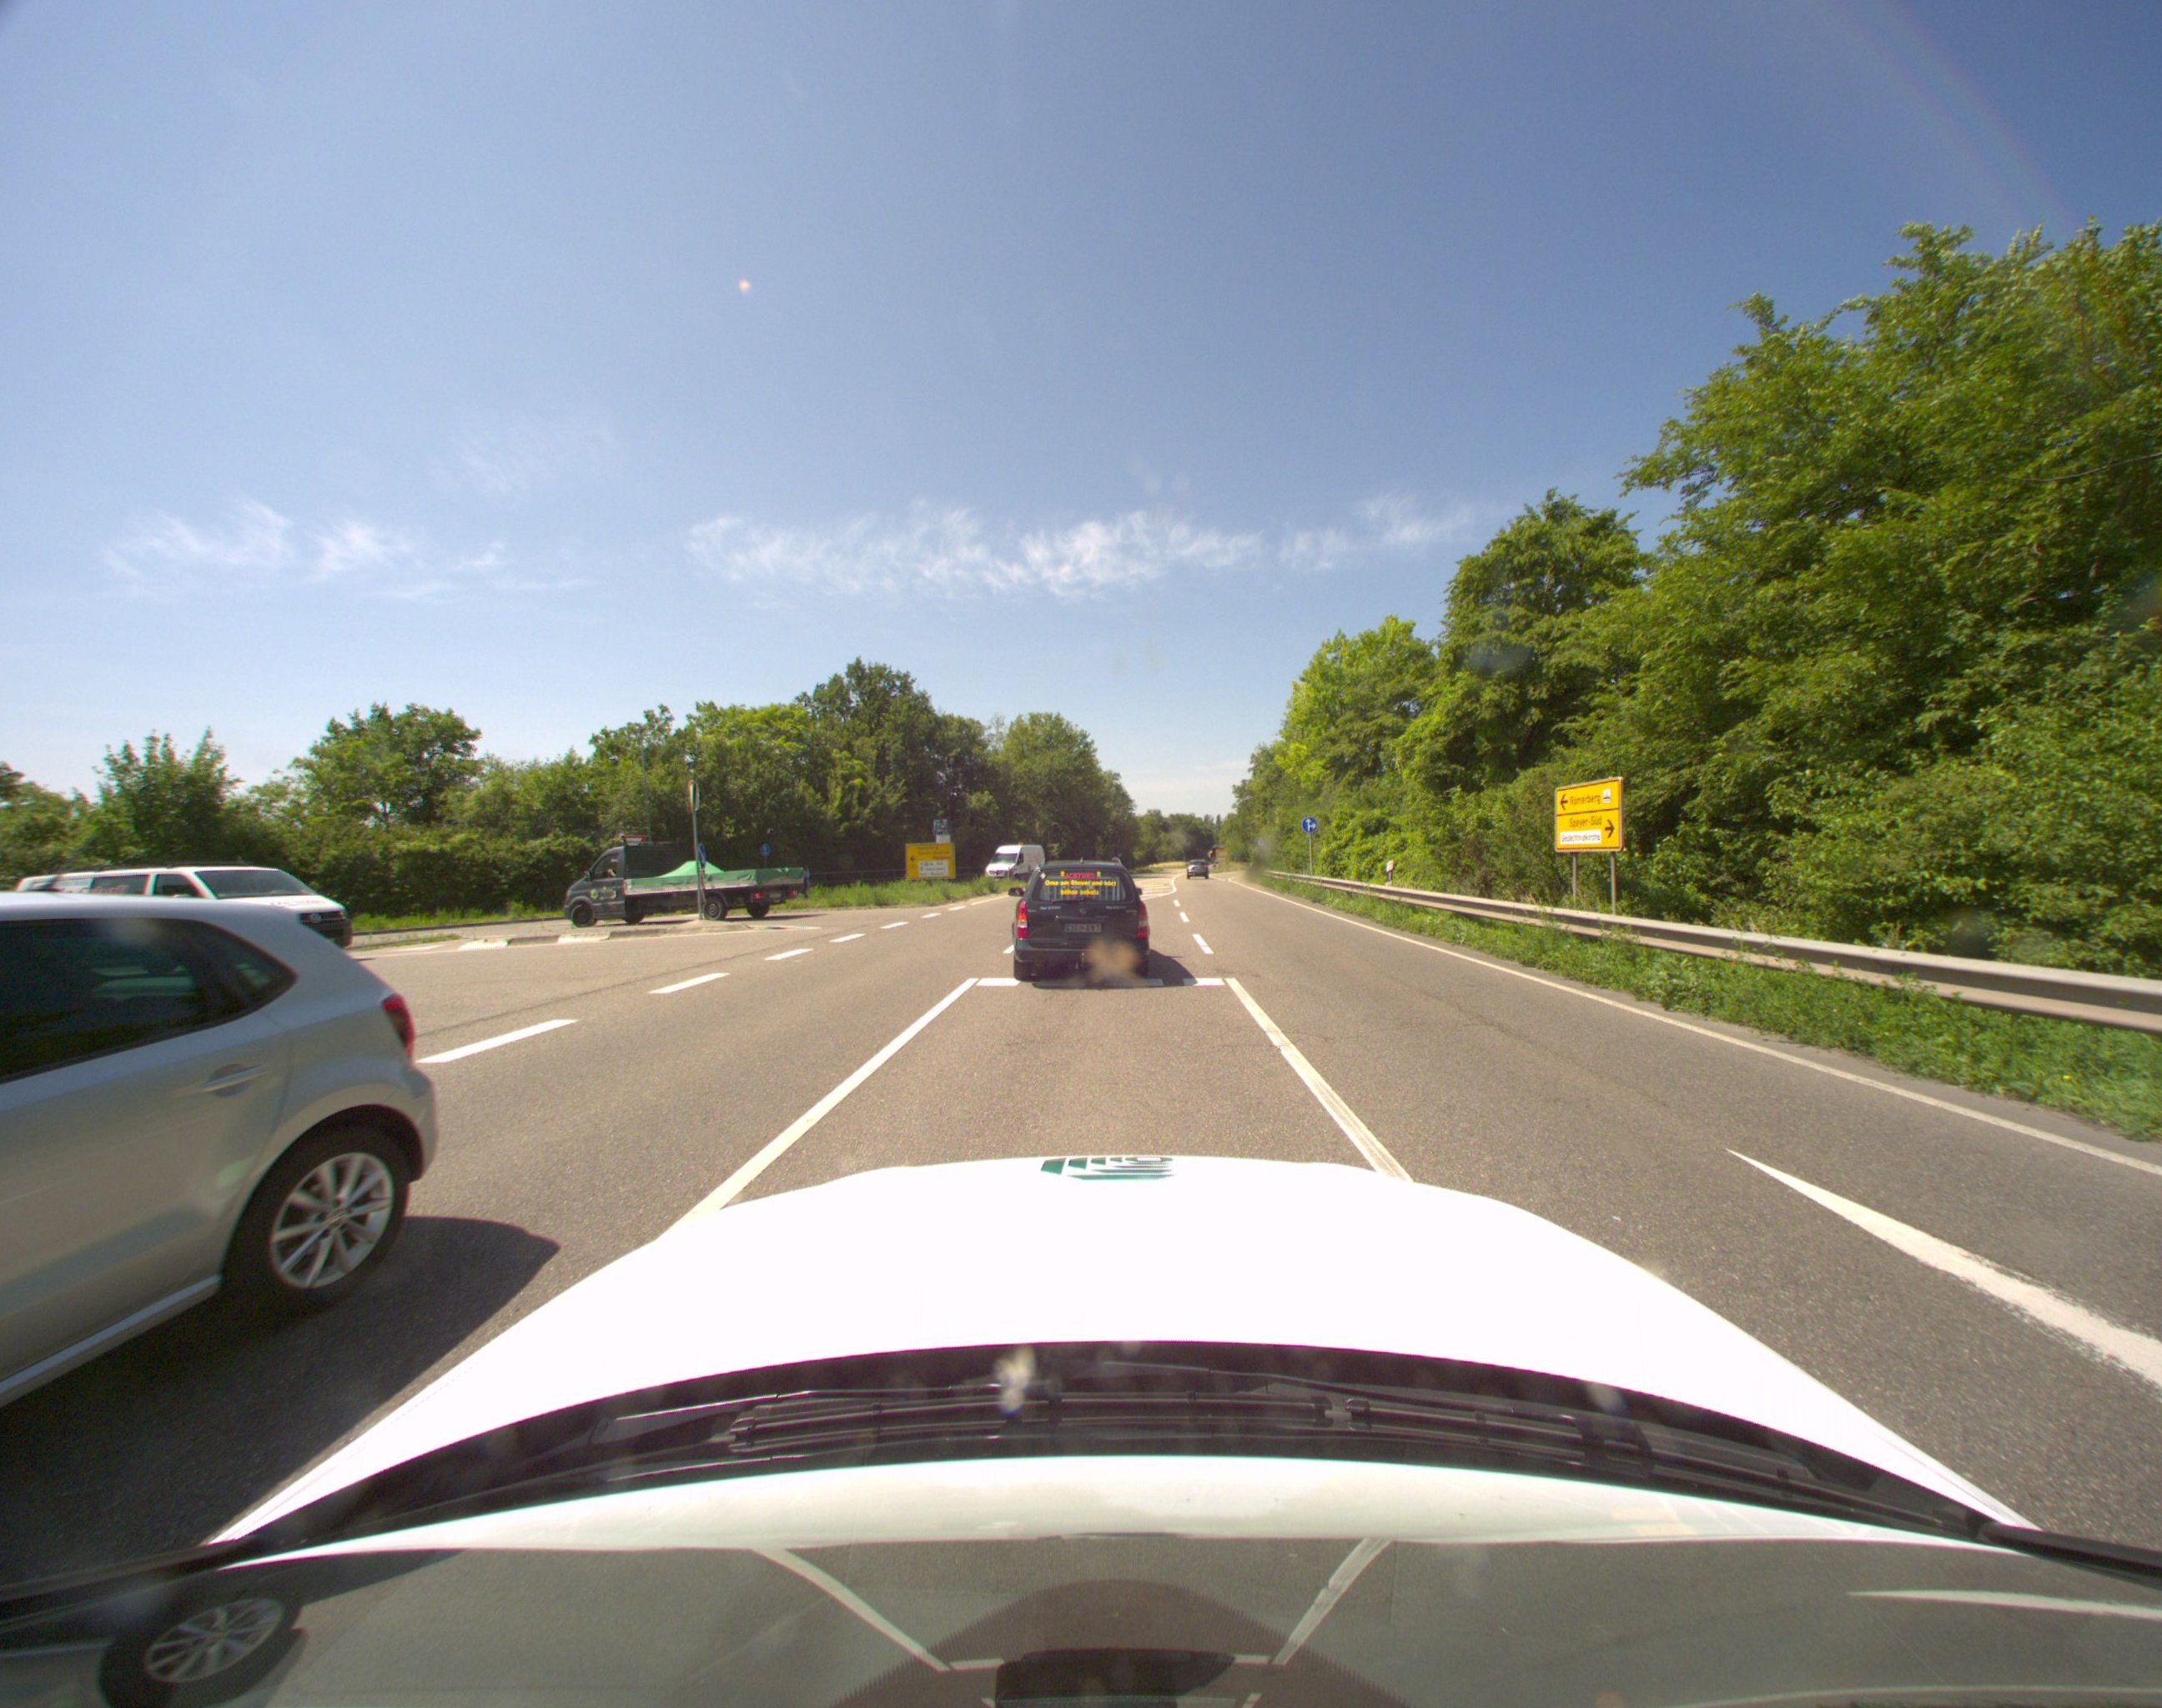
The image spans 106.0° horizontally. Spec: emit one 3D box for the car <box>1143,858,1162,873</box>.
[{"bbox_3d":[16.191,2.586,184.820,2.003,3.226,4.769,-1,0,-25],"label":"car"}]

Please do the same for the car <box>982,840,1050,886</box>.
[{"bbox_3d":[-4.169,0.584,53.253,2.088,2.850,6.041,-1,-1,20],"label":"car"}]

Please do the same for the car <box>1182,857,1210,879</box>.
[{"bbox_3d":[9.427,1.158,67.072,1.837,1.684,4.001,-1,0,1],"label":"car"}]

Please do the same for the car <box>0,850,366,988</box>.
[{"bbox_3d":[-16.576,1.147,15.060,5.143,2.027,2.004,-4,0,7],"label":"car"}]

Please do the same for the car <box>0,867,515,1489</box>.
[{"bbox_3d":[-3.327,0.763,1.646,1.638,1.419,3.767,-1,0,2],"label":"car"}]

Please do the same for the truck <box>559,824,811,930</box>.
[{"bbox_3d":[-11.280,0.681,23.247,6.567,2.565,2.155,-3,-1,16],"label":"truck"}]

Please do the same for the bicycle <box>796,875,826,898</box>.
[{"bbox_3d":[-14.050,1.684,42.349,0.431,1.113,1.491,-2,0,36],"label":"bicycle"}]

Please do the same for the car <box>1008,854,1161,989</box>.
[{"bbox_3d":[-0.122,0.755,11.066,1.718,1.457,3.790,-1,0,-5],"label":"car"}]

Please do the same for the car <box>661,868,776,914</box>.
[{"bbox_3d":[-15.034,1.514,33.925,1.656,1.662,4.025,-2,0,39],"label":"car"}]

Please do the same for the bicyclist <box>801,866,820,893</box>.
[{"bbox_3d":[-14.068,1.320,42.338,0.681,1.363,0.613,-1,0,36],"label":"bicyclist"}]
